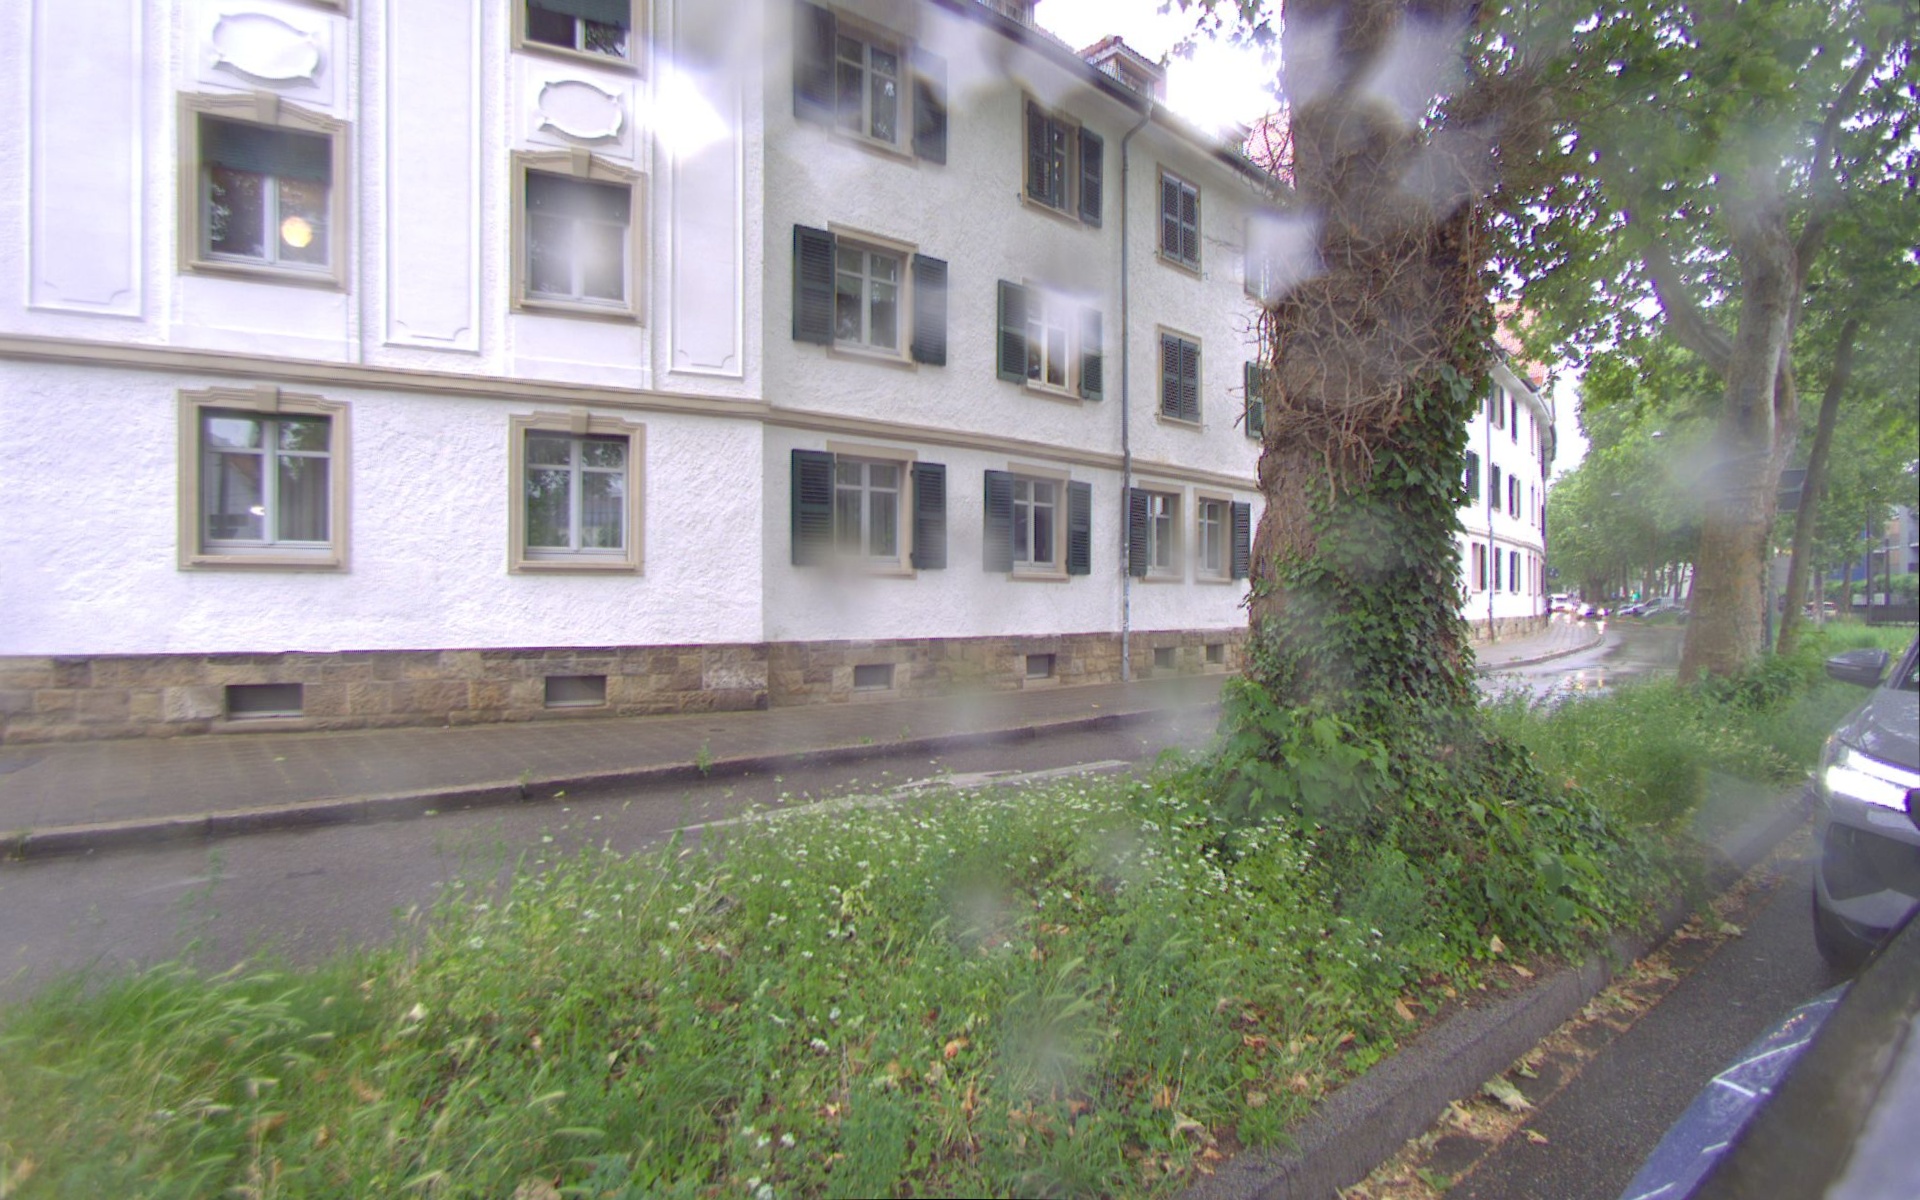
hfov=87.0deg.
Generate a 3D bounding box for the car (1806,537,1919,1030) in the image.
[{"bbox_3d":[5.145,0.608,4.318,4.039,1.662,1.913,0,0,-44],"label":"car"}]

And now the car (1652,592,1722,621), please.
[{"bbox_3d":[52.644,0.458,73.397,3.969,2.039,1.977,0,-1,32],"label":"car"}]

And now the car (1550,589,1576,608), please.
[{"bbox_3d":[75.943,-0.214,127.431,2.173,2.292,5.367,0,0,24],"label":"car"}]

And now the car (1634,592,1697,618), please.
[{"bbox_3d":[55.910,0.374,80.302,3.969,2.039,1.977,0,-1,32],"label":"car"}]

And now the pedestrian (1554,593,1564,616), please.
[{"bbox_3d":[48.631,0.375,82.180,0.668,1.845,0.672,0,0,31],"label":"pedestrian"}]
